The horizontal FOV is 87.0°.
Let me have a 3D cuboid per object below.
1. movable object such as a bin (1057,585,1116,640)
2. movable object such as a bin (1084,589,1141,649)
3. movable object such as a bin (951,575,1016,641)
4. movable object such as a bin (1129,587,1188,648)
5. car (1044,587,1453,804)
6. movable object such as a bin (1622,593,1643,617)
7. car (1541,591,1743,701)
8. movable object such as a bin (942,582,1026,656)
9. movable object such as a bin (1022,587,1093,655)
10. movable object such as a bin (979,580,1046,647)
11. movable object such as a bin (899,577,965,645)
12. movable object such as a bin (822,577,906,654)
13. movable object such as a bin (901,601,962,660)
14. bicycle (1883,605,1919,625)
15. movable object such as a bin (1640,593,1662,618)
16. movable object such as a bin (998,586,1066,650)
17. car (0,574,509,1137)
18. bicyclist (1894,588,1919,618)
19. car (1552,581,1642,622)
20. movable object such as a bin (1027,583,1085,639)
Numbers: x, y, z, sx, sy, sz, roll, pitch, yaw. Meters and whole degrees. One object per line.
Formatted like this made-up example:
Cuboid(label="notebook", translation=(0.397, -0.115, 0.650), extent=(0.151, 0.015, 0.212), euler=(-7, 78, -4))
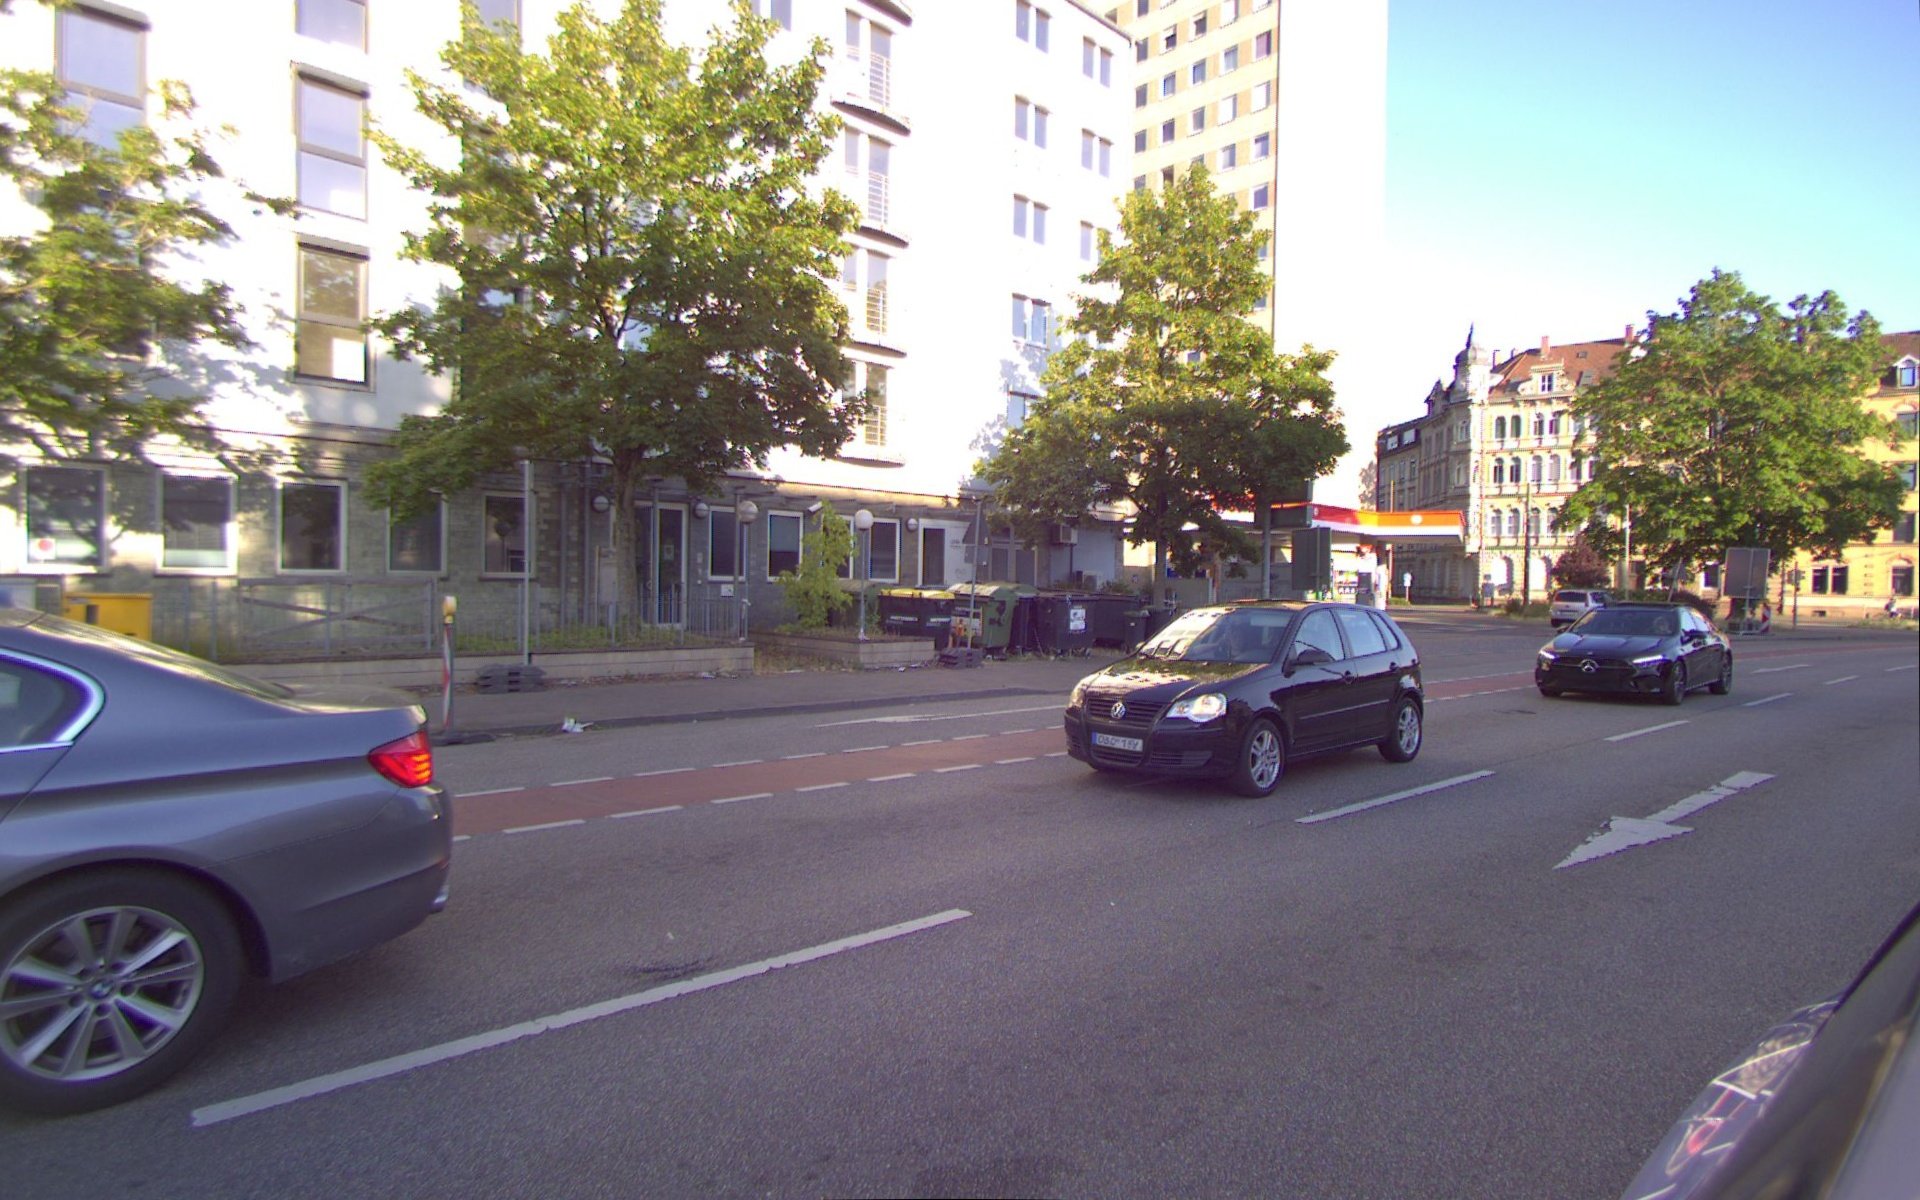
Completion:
Cuboid(label="movable object such as a bin", translation=(3.084, 0.289, 24.623), extent=(1.080, 1.299, 0.954), euler=(0, 1, -44))
Cuboid(label="movable object such as a bin", translation=(3.558, 0.414, 23.615), extent=(0.938, 1.345, 0.954), euler=(0, 1, -43))
Cuboid(label="movable object such as a bin", translation=(0.557, 0.168, 24.190), extent=(1.143, 1.517, 1.033), euler=(0, 1, -44))
Cuboid(label="movable object such as a bin", translation=(4.544, 0.382, 23.180), extent=(0.938, 1.345, 0.954), euler=(0, 1, -43))
Cuboid(label="car", translation=(2.615, 0.636, 8.712), extent=(3.804, 1.467, 1.583), euler=(0, 0, -41))
Cuboid(label="movable object such as a bin", translation=(29.110, 0.212, 43.787), extent=(0.675, 1.031, 0.544), euler=(0, 1, -36))
Cuboid(label="car", translation=(10.523, 0.604, 15.506), extent=(3.977, 1.467, 1.729), euler=(0, 0, -43))
Cuboid(label="movable object such as a bin", translation=(0.487, 0.360, 20.850), extent=(1.088, 1.441, 1.348), euler=(0, 2, -45))
Cuboid(label="movable object such as a bin", translation=(2.034, 0.419, 21.077), extent=(1.143, 1.345, 0.954), euler=(0, 1, -44))
Cuboid(label="movable object such as a bin", translation=(1.205, 0.281, 23.198), extent=(1.143, 1.467, 1.033), euler=(0, 1, -44))
Cuboid(label="movable object such as a bin", translation=(-0.660, 0.235, 23.629), extent=(1.143, 1.517, 1.033), euler=(0, 1, -44))
Cuboid(label="movable object such as a bin", translation=(-1.942, 0.285, 20.408), extent=(1.088, 1.479, 1.348), euler=(0, 1, -45))
Cuboid(label="movable object such as a bin", translation=(-0.554, 0.573, 19.477), extent=(0.851, 1.058, 0.807), euler=(2, 1, 45))
Cuboid(label="bicycle", translation=(53.733, 0.873, 57.477), extent=(1.920, 1.072, 0.444), euler=(2, 1, 43))
Cuboid(label="movable object such as a bin", translation=(29.424, 0.228, 43.102), extent=(0.675, 1.031, 0.544), euler=(0, 1, -36))
Cuboid(label="movable object such as a bin", translation=(1.564, 0.373, 22.069), extent=(1.143, 1.345, 0.954), euler=(0, 1, -44))
Cuboid(label="car", translation=(-3.852, 0.663, 2.616), extent=(4.588, 1.467, 1.817), euler=(0, 0, -43))
Cuboid(label="bicyclist", translation=(53.793, 0.169, 57.465), extent=(1.062, 1.669, 0.721), euler=(2, 1, 43))
Cuboid(label="car", translation=(25.773, 0.030, 40.909), extent=(3.723, 1.535, 1.691), euler=(-1, 2, -34))
Cuboid(label="movable object such as a bin", translation=(2.405, 0.259, 25.352), extent=(1.080, 1.345, 0.954), euler=(0, 1, -44))
